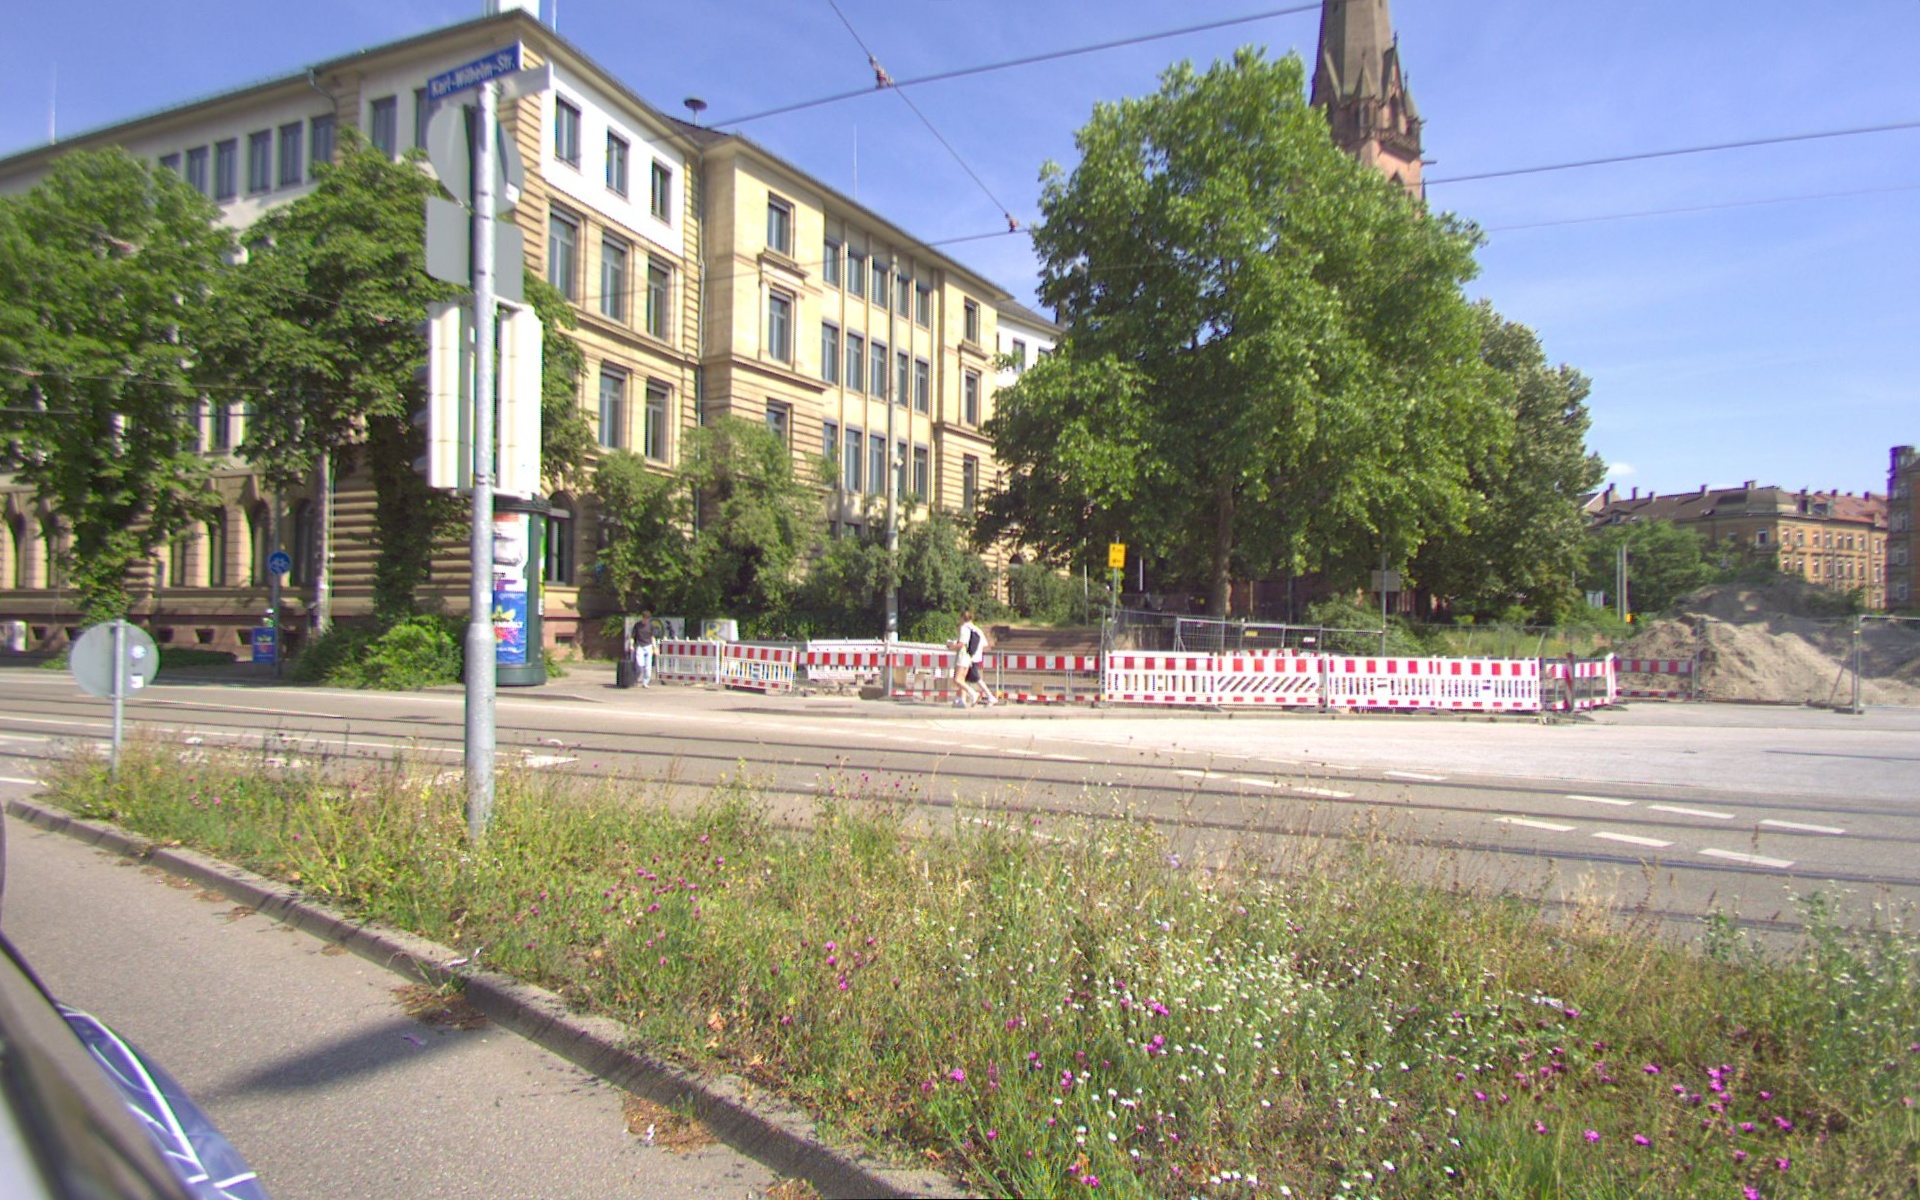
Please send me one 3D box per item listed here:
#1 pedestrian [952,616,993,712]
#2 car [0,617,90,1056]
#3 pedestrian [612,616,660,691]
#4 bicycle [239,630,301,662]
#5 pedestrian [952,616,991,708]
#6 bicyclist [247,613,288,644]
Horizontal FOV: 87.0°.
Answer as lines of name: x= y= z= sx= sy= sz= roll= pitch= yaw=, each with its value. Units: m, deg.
pedestrian: x=0.232 y=1.192 z=19.063 sx=0.734 sy=1.763 sz=0.585 roll=0 pitch=-2 yaw=-1
car: x=-5.716 y=0.817 z=4.319 sx=4.815 sy=1.530 sz=1.843 roll=0 pitch=-2 yaw=35
pedestrian: x=-7.417 y=1.216 z=23.175 sx=0.924 sy=1.668 sz=0.847 roll=1 pitch=-2 yaw=-25
bicycle: x=-21.513 y=1.428 z=31.548 sx=1.651 sy=0.954 sz=0.697 roll=0 pitch=-2 yaw=17
pedestrian: x=0.226 y=1.201 z=19.757 sx=0.734 sy=1.763 sz=0.585 roll=0 pitch=-2 yaw=-1
bicyclist: x=-21.623 y=0.892 z=31.610 sx=0.862 sy=0.934 sz=0.679 roll=0 pitch=-2 yaw=18
